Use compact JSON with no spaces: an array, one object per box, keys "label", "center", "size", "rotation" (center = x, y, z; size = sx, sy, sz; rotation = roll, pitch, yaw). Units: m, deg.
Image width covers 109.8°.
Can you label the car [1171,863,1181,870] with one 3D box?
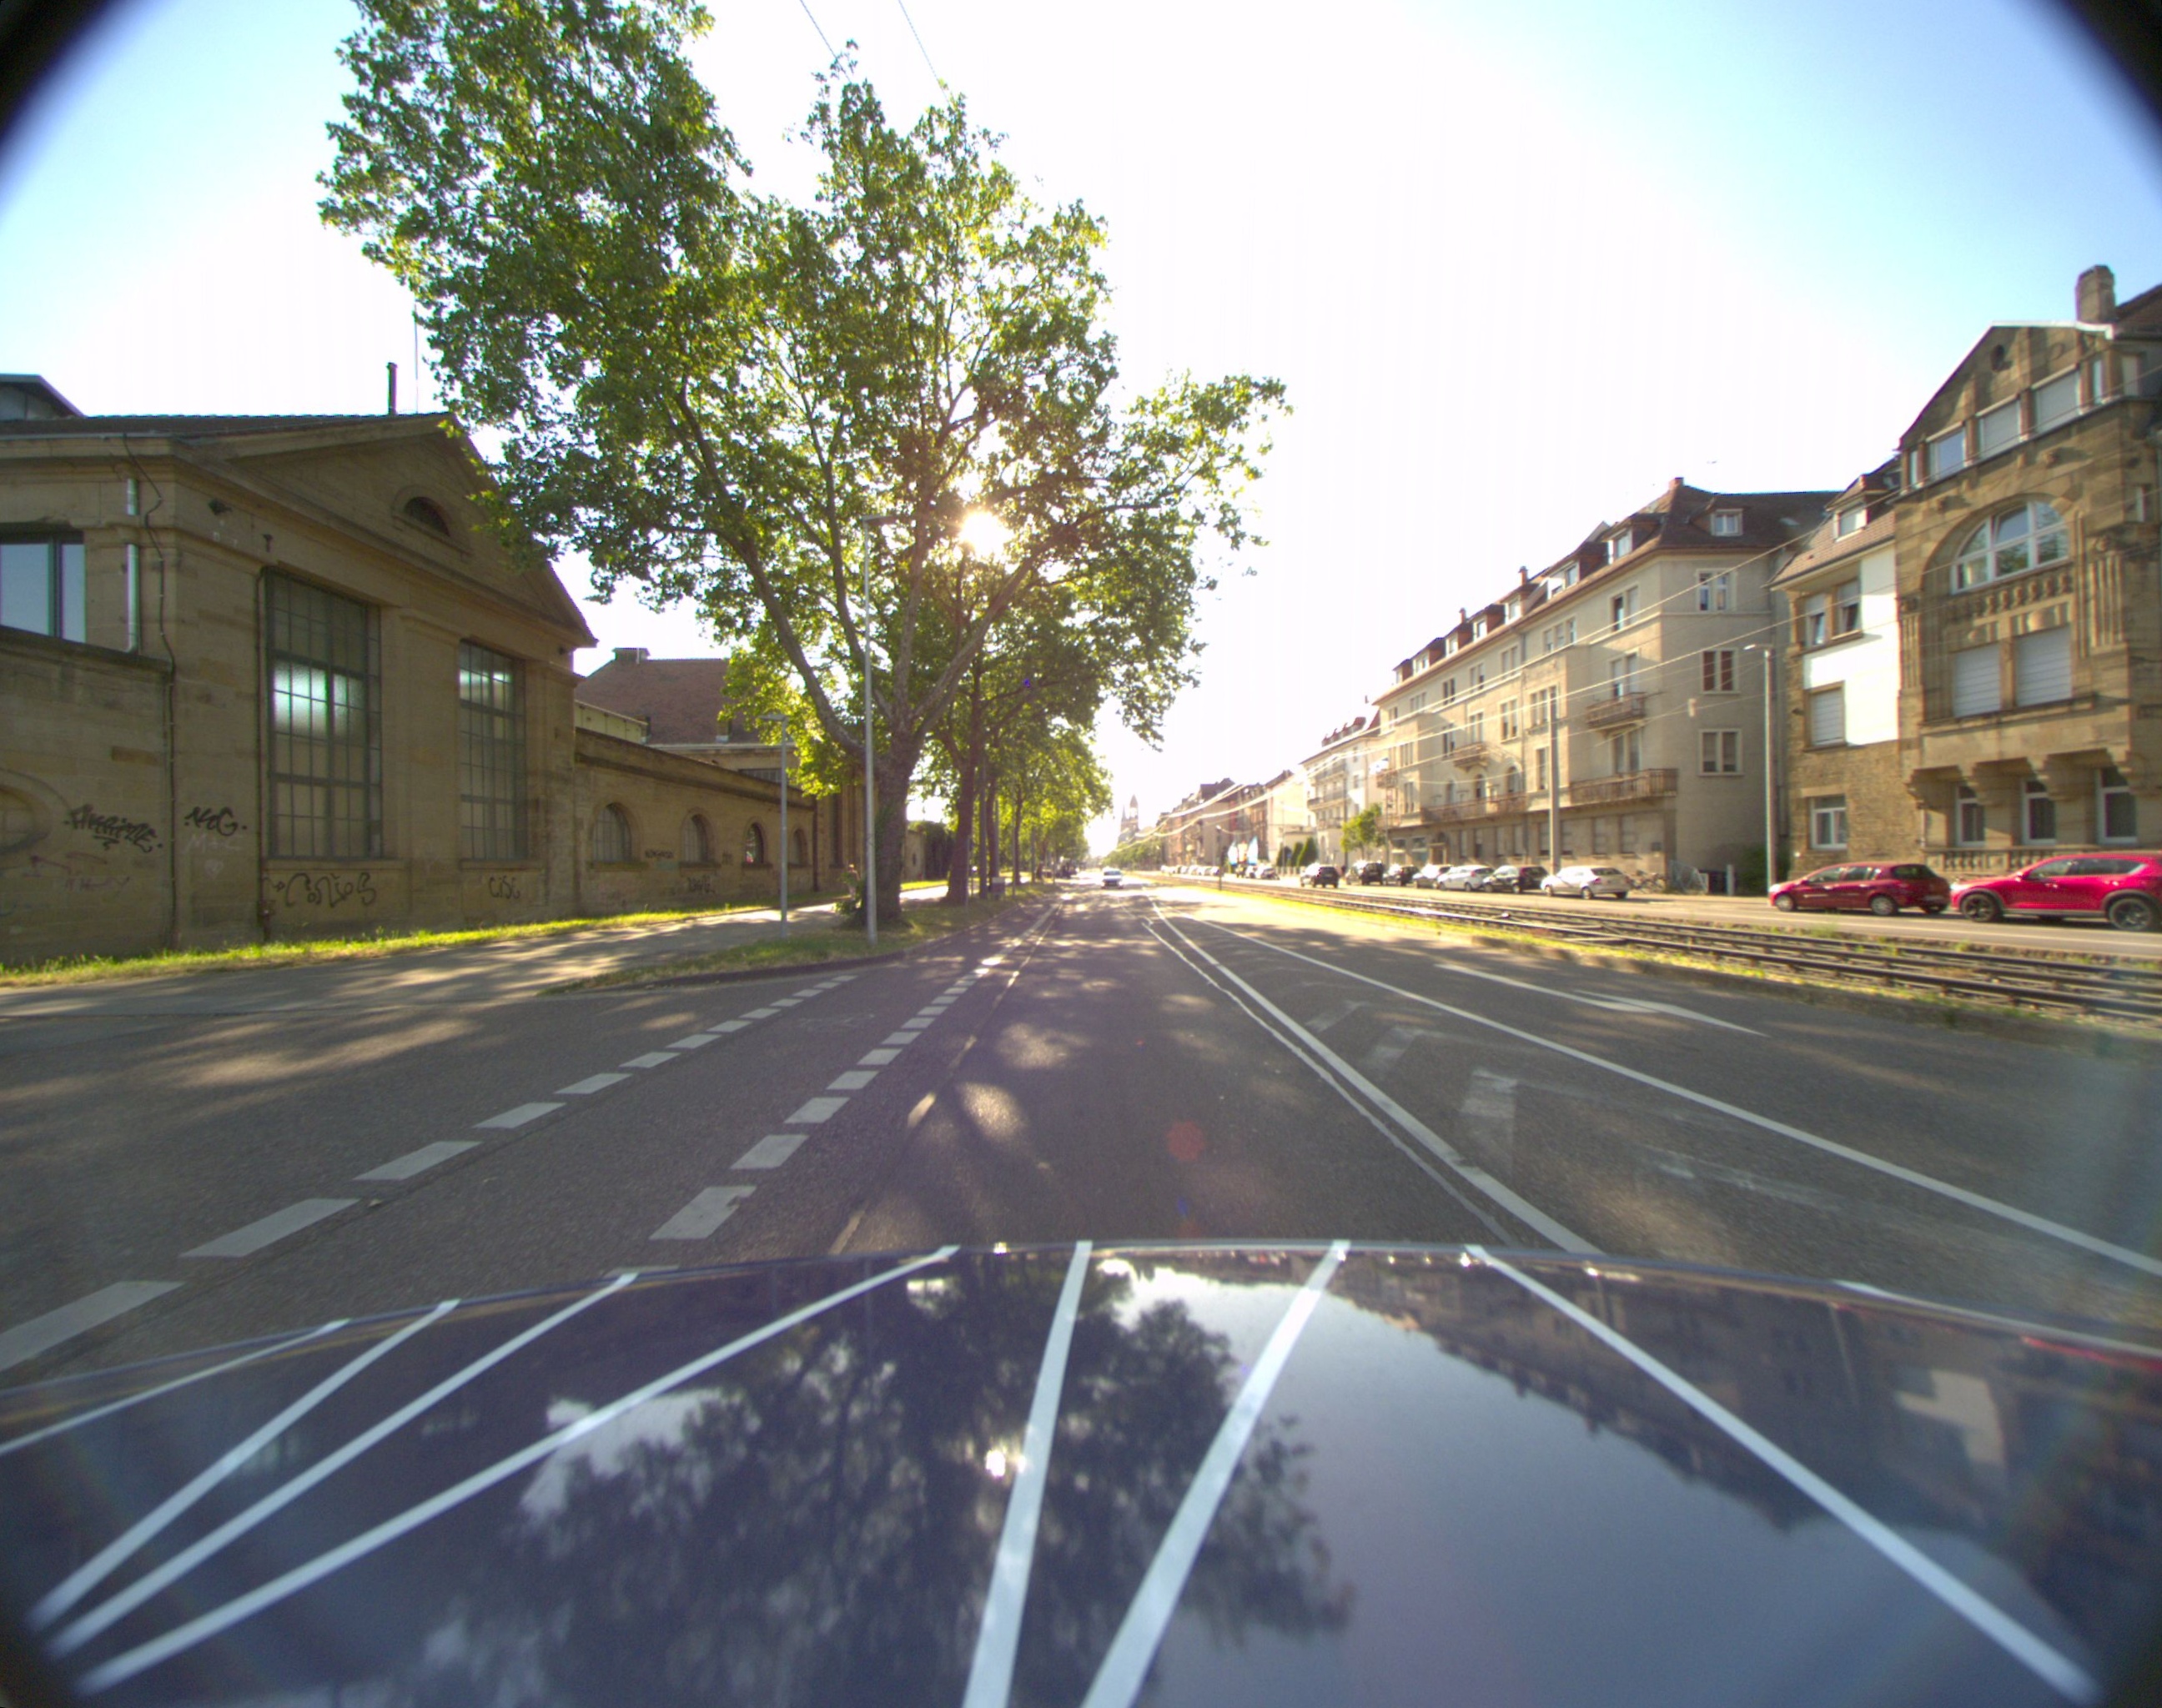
[{"label":"car","center":[21.804,2.835,174.332],"size":[1.664,1.437,3.981],"rotation":[-2,-1,0]}]

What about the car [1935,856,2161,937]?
[{"label":"car","center":[22.624,0.860,17.126],"size":[1.838,1.549,4.353],"rotation":[-2,0,1]}]

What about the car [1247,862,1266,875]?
[{"label":"car","center":[22.458,1.864,97.403],"size":[1.639,1.498,4.159],"rotation":[-3,0,2]}]

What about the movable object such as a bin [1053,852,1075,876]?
[{"label":"movable object such as a bin","center":[-2.362,1.446,107.083],"size":[2.751,3.126,7.220],"rotation":[2,-1,1]}]

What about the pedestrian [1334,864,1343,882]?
[{"label":"pedestrian","center":[25.066,1.855,74.004],"size":[0.589,1.687,0.859],"rotation":[-2,1,29]}]

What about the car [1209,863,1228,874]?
[{"label":"car","center":[22.243,2.335,123.133],"size":[1.926,1.452,4.842],"rotation":[-6,-1,-2]}]

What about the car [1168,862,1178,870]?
[{"label":"car","center":[22.157,2.914,183.587],"size":[1.799,1.796,4.000],"rotation":[-2,-1,-2]}]

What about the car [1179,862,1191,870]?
[{"label":"car","center":[22.262,2.510,162.360],"size":[1.925,1.529,4.628],"rotation":[-2,-1,0]}]

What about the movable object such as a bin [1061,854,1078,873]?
[{"label":"movable object such as a bin","center":[-2.611,1.997,166.566],"size":[3.347,3.952,7.598],"rotation":[2,-1,-2]}]

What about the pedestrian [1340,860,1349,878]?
[{"label":"pedestrian","center":[25.593,1.470,73.701],"size":[0.589,1.687,0.859],"rotation":[-2,1,29]}]

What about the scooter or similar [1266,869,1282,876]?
[{"label":"scooter or similar","center":[21.598,2.076,85.105],"size":[1.565,0.766,0.810],"rotation":[-1,-1,31]}]

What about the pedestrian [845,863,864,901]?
[{"label":"pedestrian","center":[-10.191,1.267,34.211],"size":[0.609,1.672,0.636],"rotation":[3,0,-2]}]

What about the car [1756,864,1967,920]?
[{"label":"car","center":[22.669,1.038,22.323],"size":[1.838,1.383,4.034],"rotation":[-4,0,-5]}]

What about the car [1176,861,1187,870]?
[{"label":"car","center":[22.359,2.500,168.878],"size":[1.664,1.796,4.728],"rotation":[-2,-1,-2]}]

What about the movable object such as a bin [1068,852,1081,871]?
[{"label":"movable object such as a bin","center":[-1.612,1.843,186.491],"size":[2.922,4.583,7.597],"rotation":[2,-1,-2]}]

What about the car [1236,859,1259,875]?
[{"label":"car","center":[22.676,1.738,103.622],"size":[2.082,1.998,5.593],"rotation":[-3,-1,2]}]

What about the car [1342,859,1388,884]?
[{"label":"car","center":[22.447,1.368,60.159],"size":[1.867,1.775,4.402],"rotation":[-3,-1,-1]}]

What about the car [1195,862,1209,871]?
[{"label":"car","center":[22.063,2.221,138.360],"size":[1.925,1.551,4.844],"rotation":[-2,-1,3]}]

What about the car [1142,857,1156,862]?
[{"label":"car","center":[21.807,1.875,244.790],"size":[3.991,1.501,1.802],"rotation":[-3,0,21]}]

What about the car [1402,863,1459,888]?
[{"label":"car","center":[22.418,1.356,48.910],"size":[1.639,1.460,4.159],"rotation":[-4,-1,-1]}]

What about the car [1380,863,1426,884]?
[{"label":"car","center":[22.964,1.386,54.306],"size":[1.632,1.383,3.508],"rotation":[-4,-1,-1]}]

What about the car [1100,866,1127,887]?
[{"label":"car","center":[2.389,1.672,57.201],"size":[1.799,1.501,4.000],"rotation":[-3,-1,0]}]

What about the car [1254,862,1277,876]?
[{"label":"car","center":[22.365,1.793,92.147],"size":[1.798,1.501,4.000],"rotation":[-3,0,1]}]

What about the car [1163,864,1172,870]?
[{"label":"car","center":[22.197,3.241,195.115],"size":[1.664,1.437,3.765],"rotation":[-2,-1,0]}]

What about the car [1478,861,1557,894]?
[{"label":"car","center":[22.577,1.184,39.495],"size":[1.639,1.460,4.159],"rotation":[-6,-1,0]}]

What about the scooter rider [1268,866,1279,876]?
[{"label":"scooter rider","center":[21.560,1.880,85.124],"size":[0.976,1.082,0.810],"rotation":[0,-1,31]}]

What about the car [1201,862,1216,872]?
[{"label":"car","center":[22.249,2.272,132.461],"size":[1.925,1.684,4.843],"rotation":[-2,-1,2]}]

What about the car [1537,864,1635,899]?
[{"label":"car","center":[22.628,1.220,34.217],"size":[1.639,1.460,4.160],"rotation":[-1,-1,0]}]

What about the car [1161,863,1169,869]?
[{"label":"car","center":[22.026,3.176,199.731],"size":[1.798,1.633,4.631],"rotation":[-2,-1,2]}]

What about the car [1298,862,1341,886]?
[{"label":"car","center":[16.968,1.397,54.170],"size":[1.639,1.592,4.158],"rotation":[0,-1,-2]}]

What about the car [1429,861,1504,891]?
[{"label":"car","center":[22.163,1.264,43.841],"size":[1.640,1.460,3.981],"rotation":[-6,-1,-10]}]
